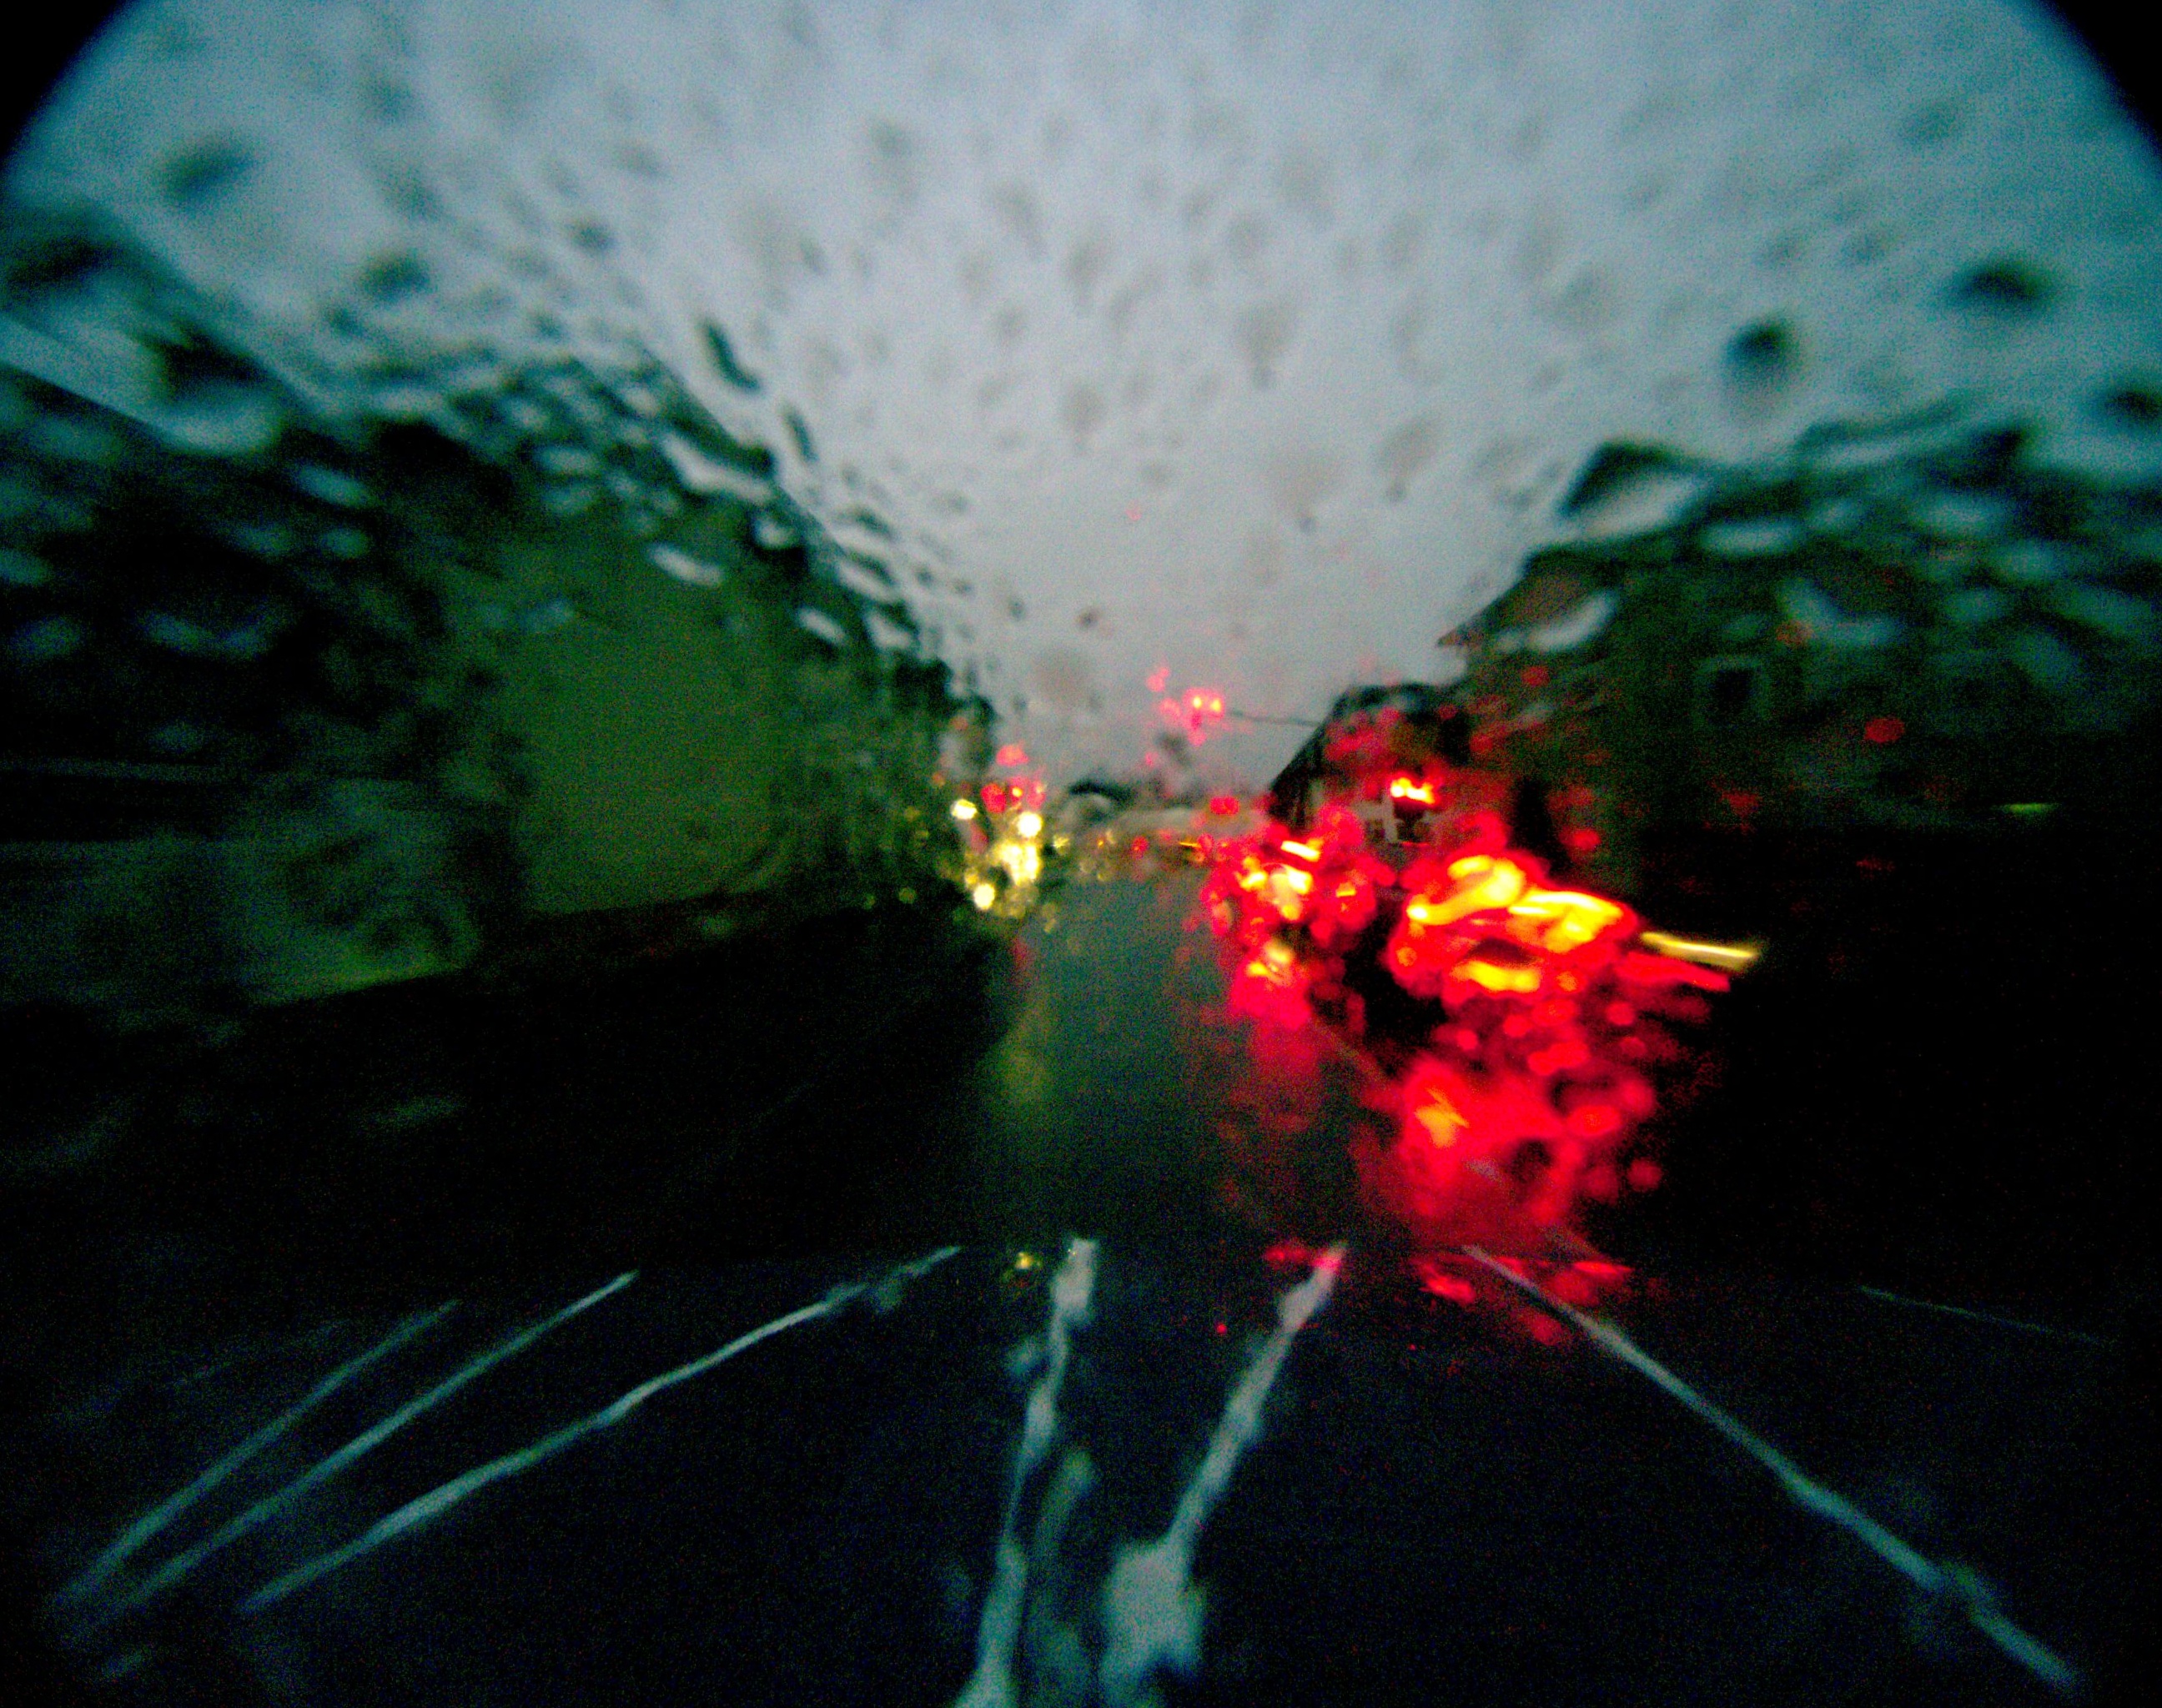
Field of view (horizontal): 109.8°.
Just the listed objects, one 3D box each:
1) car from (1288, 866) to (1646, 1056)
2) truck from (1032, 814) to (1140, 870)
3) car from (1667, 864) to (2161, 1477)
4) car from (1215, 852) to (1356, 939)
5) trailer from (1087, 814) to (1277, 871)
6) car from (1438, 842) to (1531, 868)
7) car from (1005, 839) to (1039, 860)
[{"bbox_3d":[3.666,0.890,8.231,1.829,1.365,4.286,1,1,3],"label":"car"},{"bbox_3d":[0.352,-0.709,45.480,6.266,3.211,2.470,0,1,4],"label":"truck"},{"bbox_3d":[3.793,0.875,1.564,1.880,1.576,4.290,1,1,1],"label":"car"},{"bbox_3d":[3.810,0.690,14.973,1.884,1.386,4.524,1,1,5],"label":"car"},{"bbox_3d":[5.883,-0.672,45.122,10.857,3.222,2.496,0,1,4],"label":"trailer"},{"bbox_3d":[22.958,0.081,43.296,4.377,1.430,1.668,0,0,4],"label":"car"},{"bbox_3d":[-5.016,-0.390,64.441,1.820,1.679,3.909,0,1,-21],"label":"car"}]
